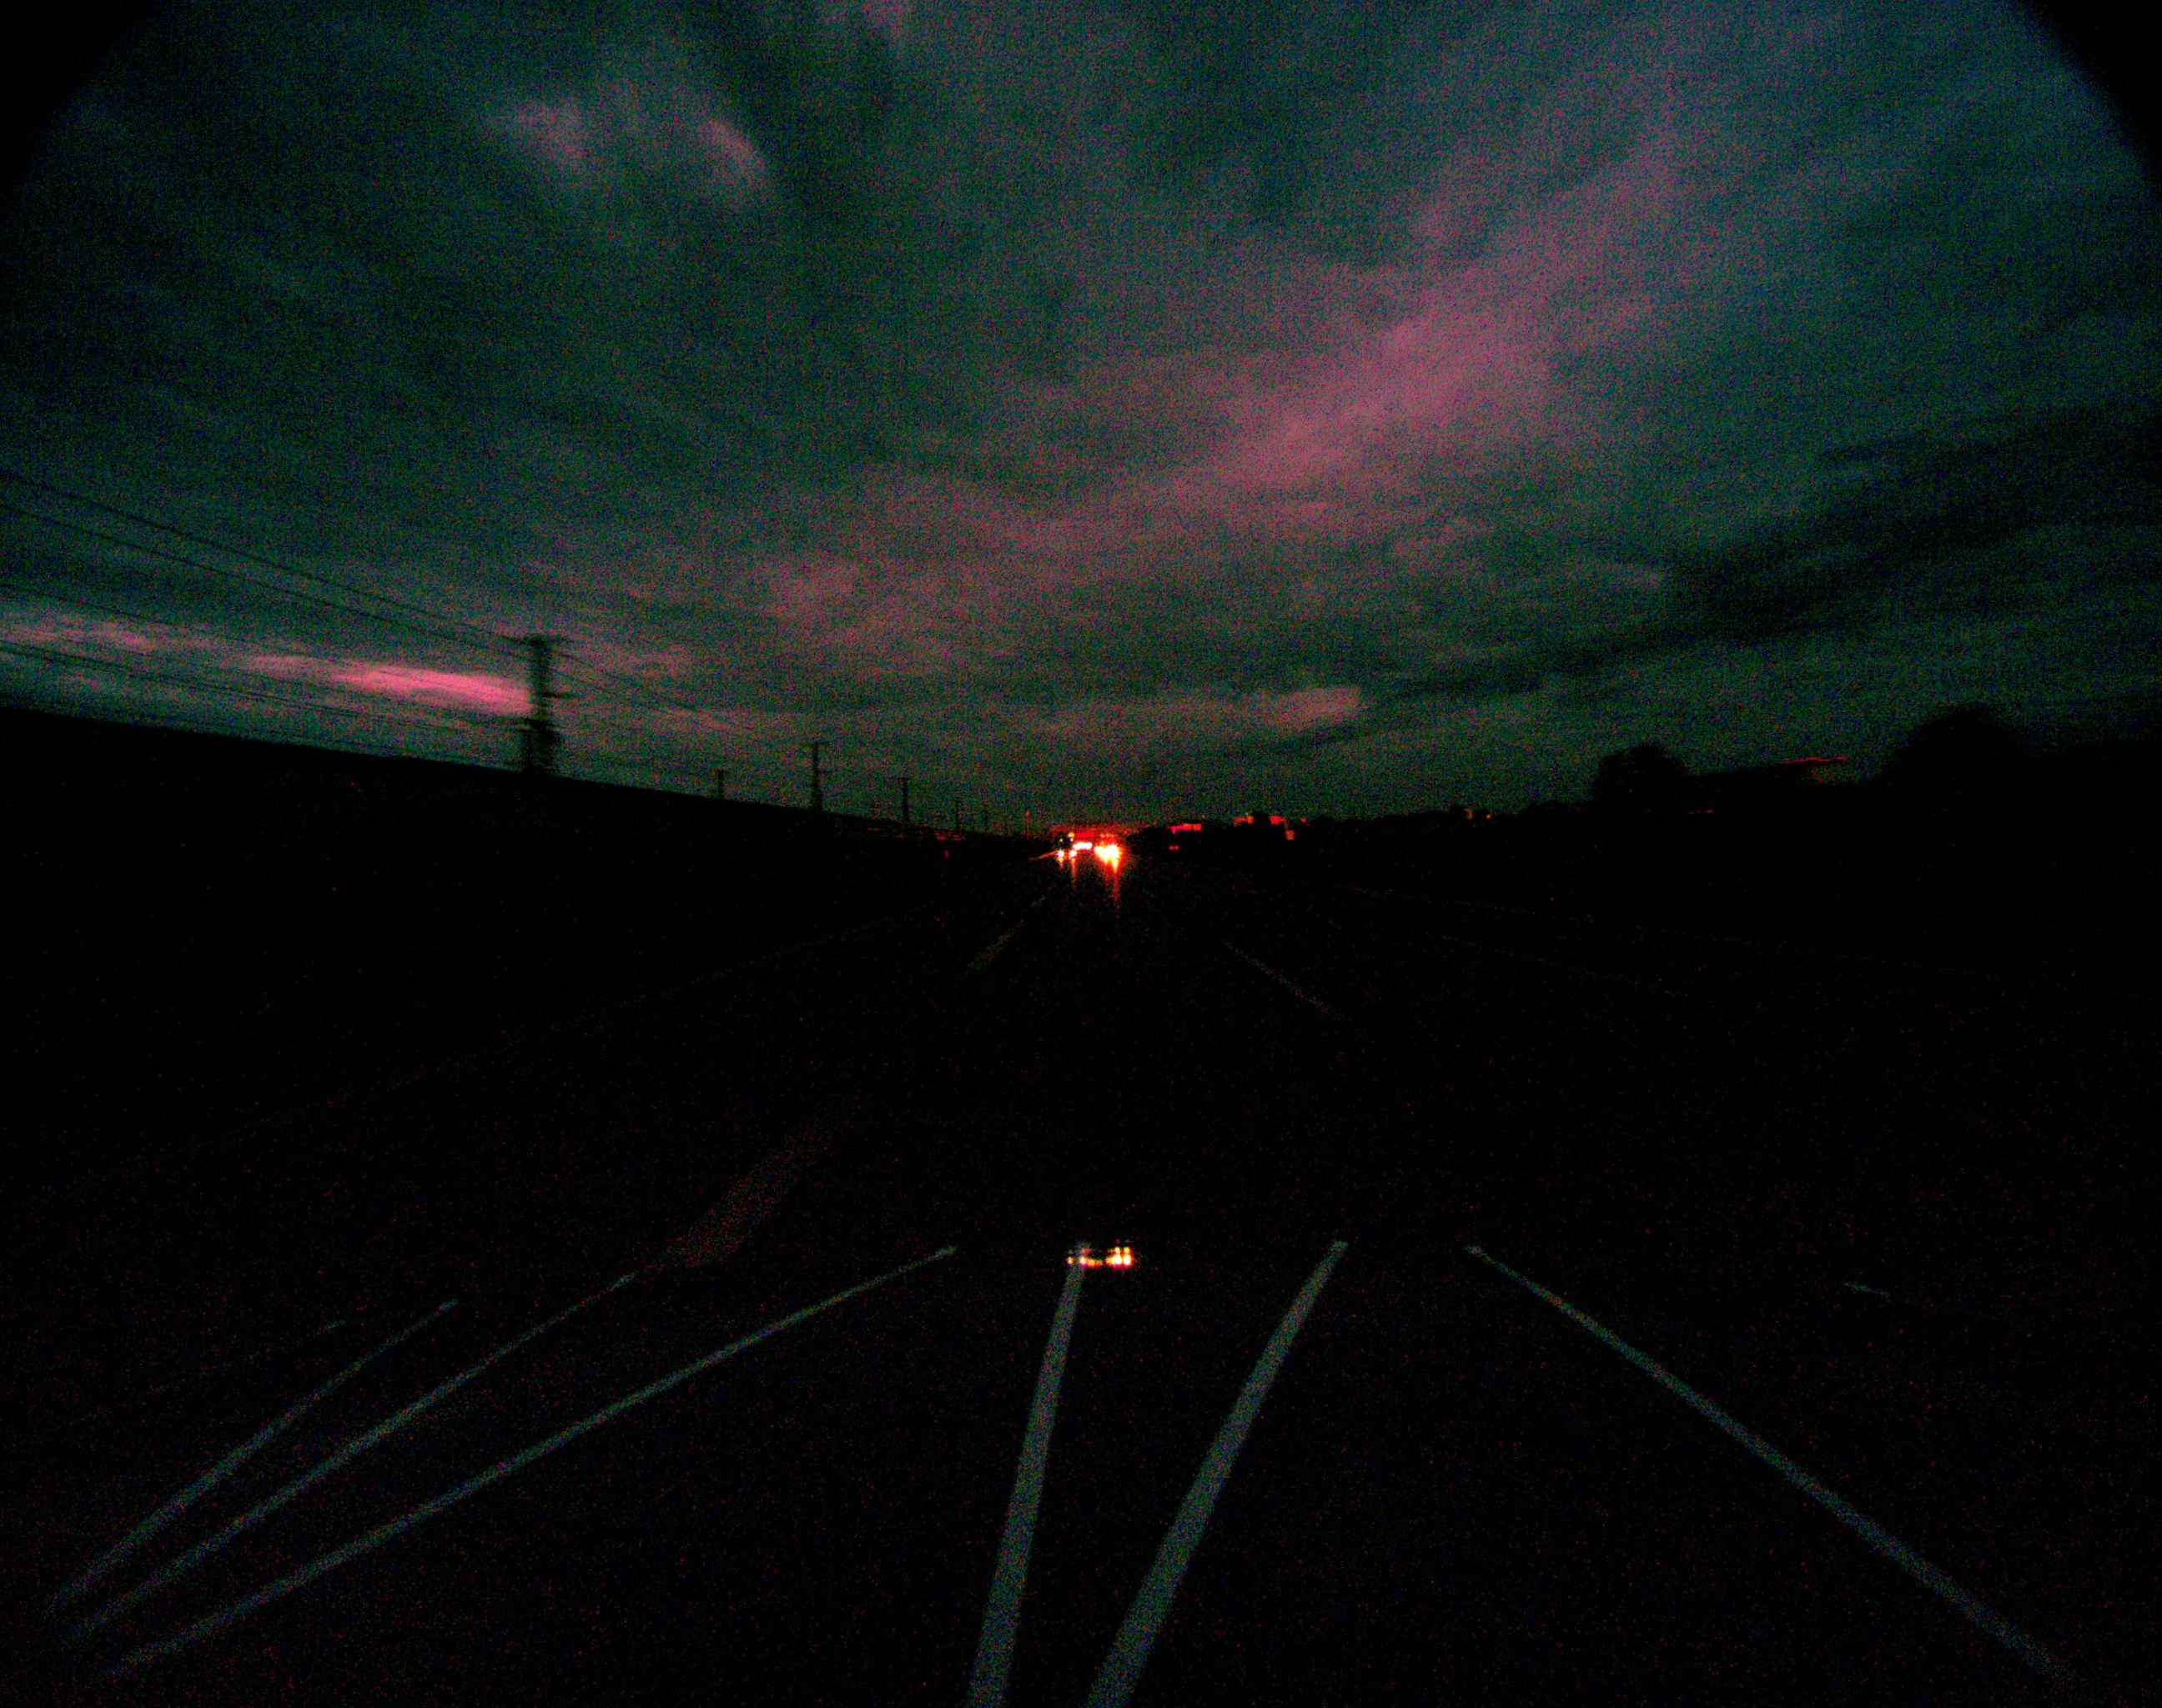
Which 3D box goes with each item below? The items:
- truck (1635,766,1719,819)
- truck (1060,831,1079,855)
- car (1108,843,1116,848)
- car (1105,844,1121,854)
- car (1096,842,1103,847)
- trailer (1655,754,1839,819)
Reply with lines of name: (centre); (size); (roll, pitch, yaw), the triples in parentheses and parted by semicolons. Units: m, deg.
truck: (51.038, -5.191, 65.247); (2.698, 4.048, 5.474); (-2, 1, -5)
truck: (-2.032, -1.853, 135.688); (3.060, 4.047, 10.521); (1, -1, 0)
car: (8.739, -2.482, 212.980); (1.999, 1.342, 4.174); (-1, 1, -1)
car: (4.777, -0.702, 113.466); (1.999, 1.342, 4.174); (3, 1, -1)
car: (4.970, -2.562, 205.104); (1.998, 1.342, 4.175); (-1, 1, 1)
trailer: (51.575, -5.039, 59.681); (2.698, 4.048, 12.485); (-2, 1, -5)
